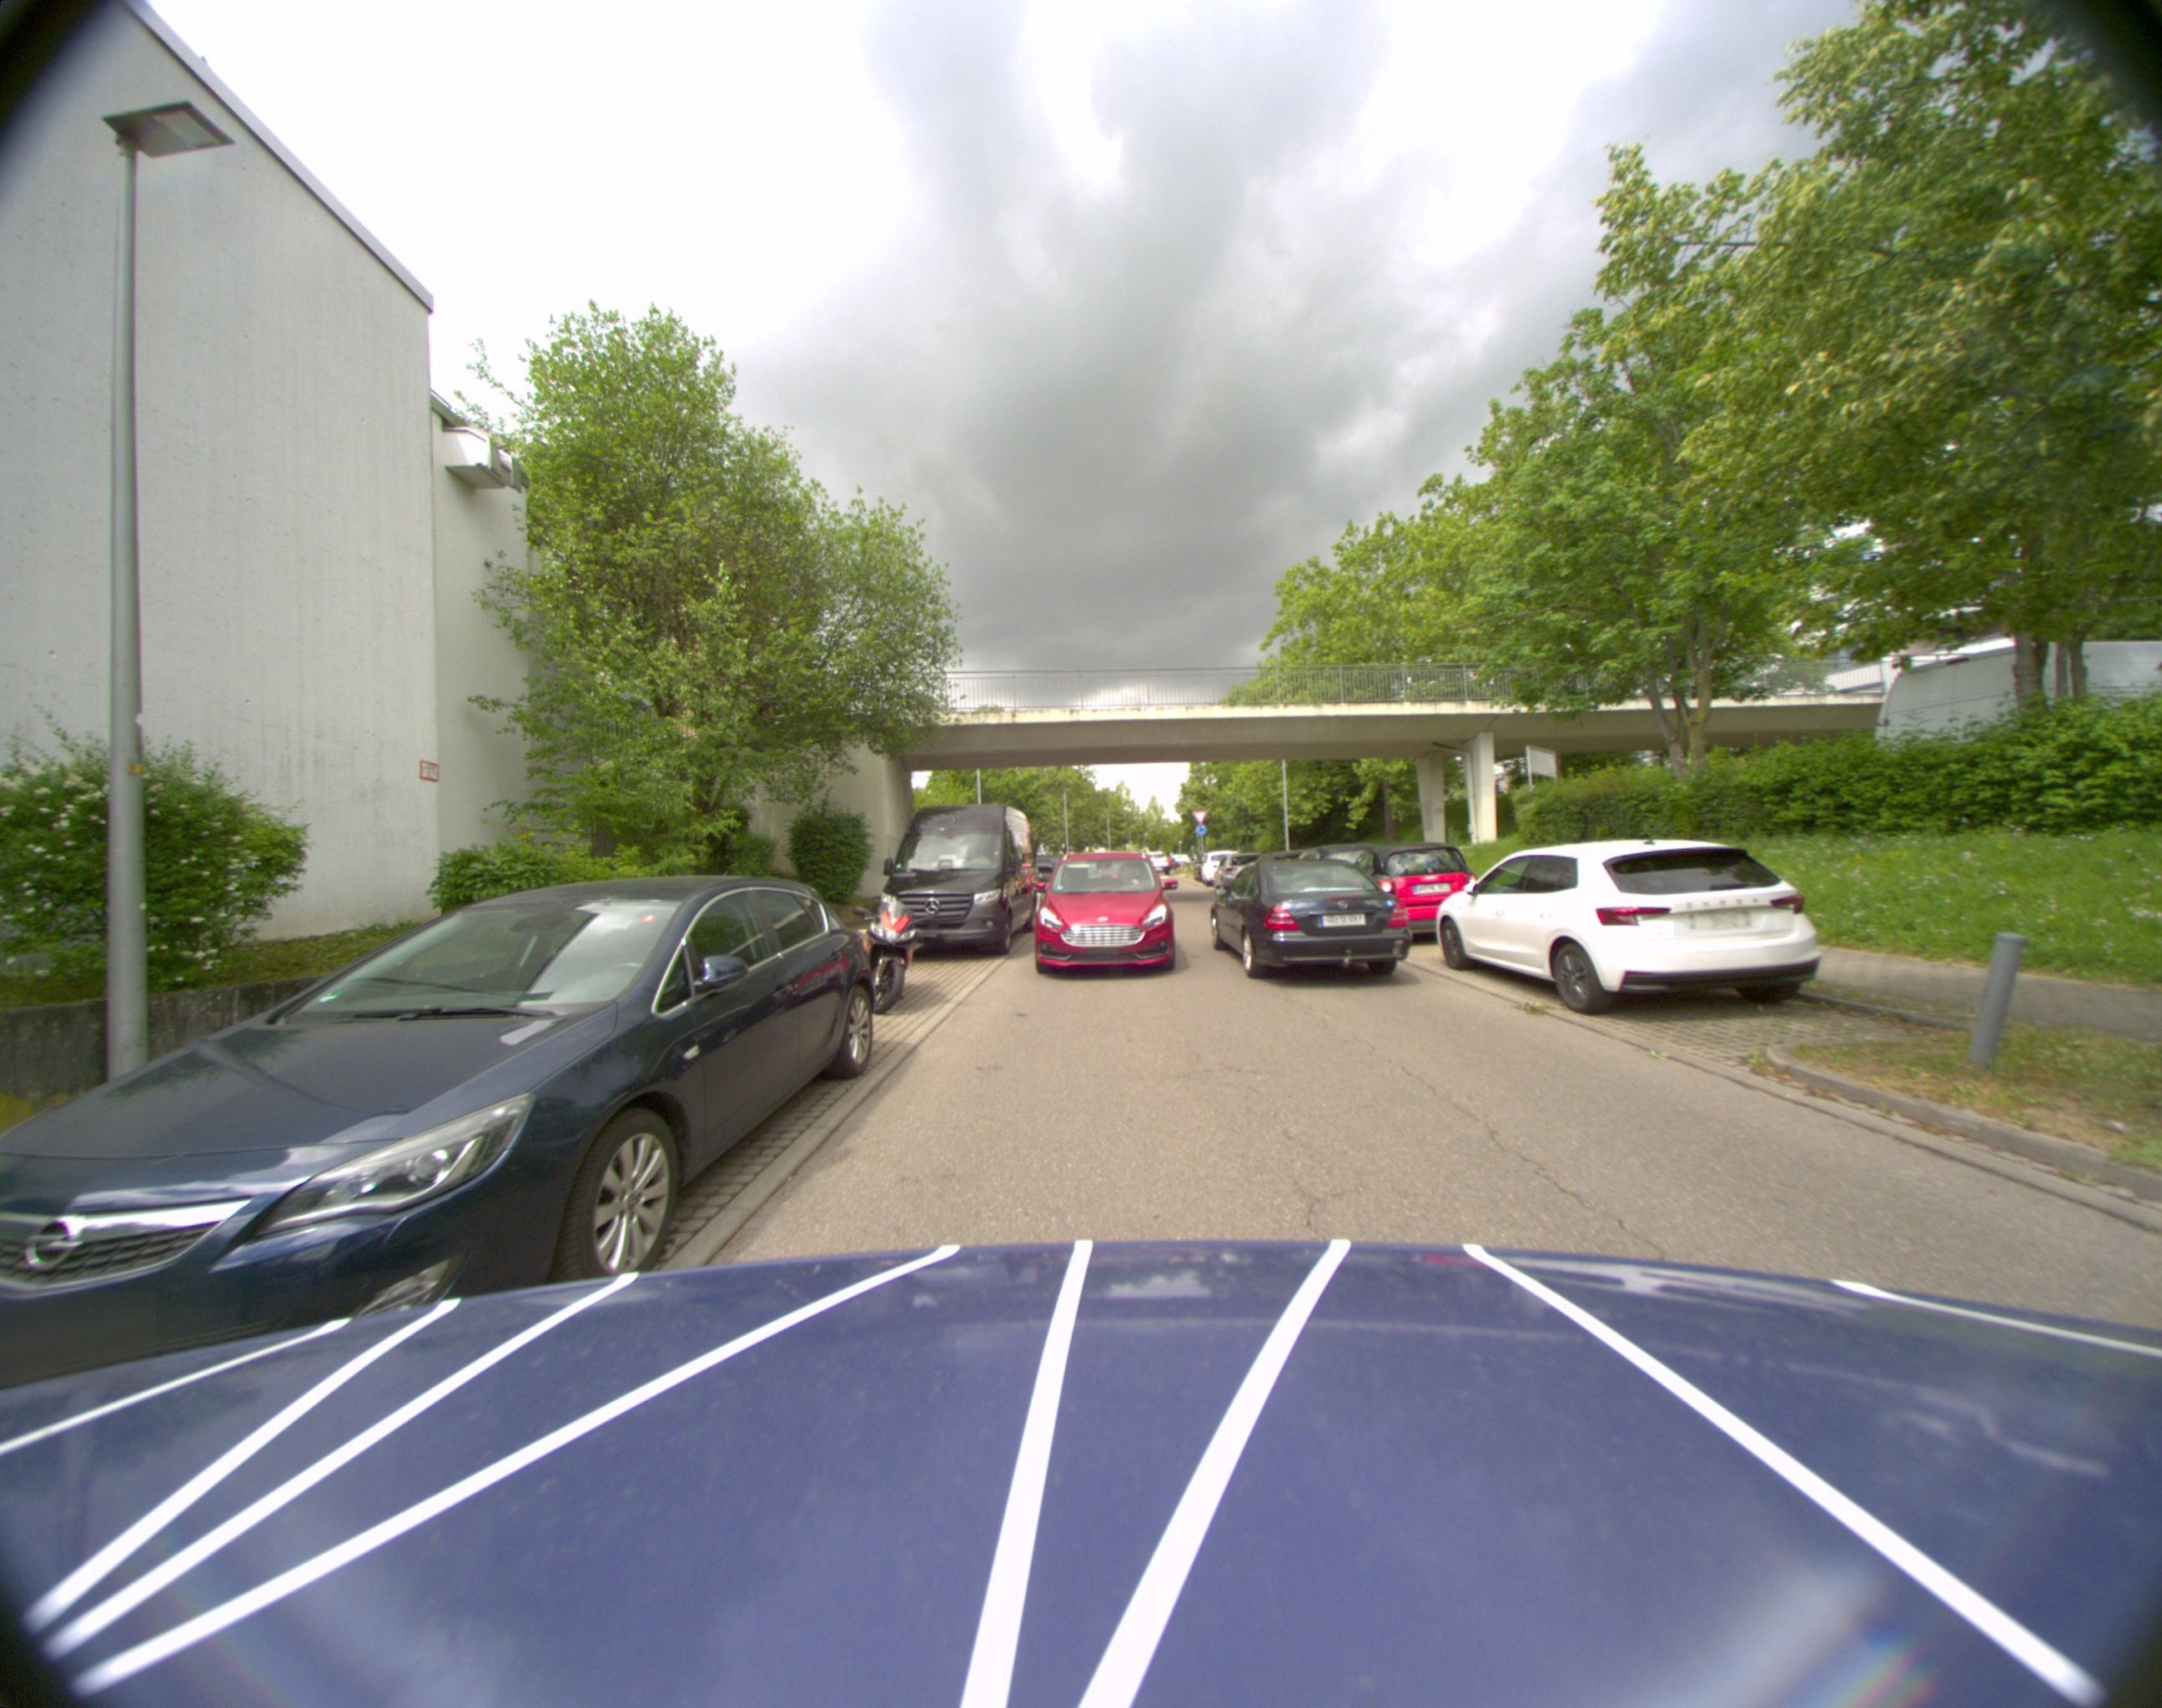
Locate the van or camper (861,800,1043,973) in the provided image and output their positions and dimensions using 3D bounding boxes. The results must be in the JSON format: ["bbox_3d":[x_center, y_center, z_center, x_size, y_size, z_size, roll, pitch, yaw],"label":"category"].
[{"bbox_3d":[-2.047,0.454,14.053,1.998,2.481,5.759,-2,1,3],"label":"van or camper"}]

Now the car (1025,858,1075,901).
[{"bbox_3d":[-1.204,0.981,30.948,1.604,1.534,3.722,-2,1,3],"label":"car"}]

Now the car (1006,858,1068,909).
[{"bbox_3d":[-1.381,0.928,25.291,1.604,1.478,3.722,-2,1,3],"label":"car"}]

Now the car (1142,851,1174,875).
[{"bbox_3d":[5.348,0.614,53.080,1.813,1.561,3.722,-2,1,1],"label":"car"}]

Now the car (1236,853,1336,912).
[{"bbox_3d":[6.037,0.774,22.902,1.812,1.472,4.486,-4,0,1],"label":"car"}]

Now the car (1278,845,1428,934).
[{"bbox_3d":[5.700,0.678,16.494,1.812,1.575,3.986,-4,0,1],"label":"car"}]

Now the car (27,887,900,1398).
[{"bbox_3d":[-2.423,1.000,4.391,1.695,1.412,4.000,-2,0,1],"label":"car"}]

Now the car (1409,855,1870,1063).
[{"bbox_3d":[5.158,0.814,7.860,1.812,1.396,4.048,-6,0,3],"label":"car"}]

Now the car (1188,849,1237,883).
[{"bbox_3d":[6.745,0.581,39.322,1.813,1.561,3.722,-3,1,1],"label":"car"}]

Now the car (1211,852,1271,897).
[{"bbox_3d":[6.119,0.759,29.466,1.812,1.447,3.862,-5,0,7],"label":"car"}]

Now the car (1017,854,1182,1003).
[{"bbox_3d":[0.311,0.843,10.440,1.812,1.600,3.722,-2,1,3],"label":"car"}]

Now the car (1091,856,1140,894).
[{"bbox_3d":[1.522,0.900,32.367,1.861,1.433,4.003,-3,-2,5],"label":"car"}]

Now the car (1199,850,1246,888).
[{"bbox_3d":[6.411,0.661,34.695,1.812,1.561,3.723,-2,1,7],"label":"car"}]

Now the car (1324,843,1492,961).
[{"bbox_3d":[5.190,0.694,12.408,1.597,1.575,2.685,-6,0,4],"label":"car"}]

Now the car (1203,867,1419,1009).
[{"bbox_3d":[2.828,0.950,10.368,1.756,1.411,4.368,-2,0,2],"label":"car"}]

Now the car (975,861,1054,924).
[{"bbox_3d":[-1.711,0.958,20.601,1.586,1.441,3.722,-2,1,3],"label":"car"}]

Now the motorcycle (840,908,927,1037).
[{"bbox_3d":[-2.096,1.213,8.300,0.710,1.061,1.929,-2,1,-10],"label":"motorcycle"}]
